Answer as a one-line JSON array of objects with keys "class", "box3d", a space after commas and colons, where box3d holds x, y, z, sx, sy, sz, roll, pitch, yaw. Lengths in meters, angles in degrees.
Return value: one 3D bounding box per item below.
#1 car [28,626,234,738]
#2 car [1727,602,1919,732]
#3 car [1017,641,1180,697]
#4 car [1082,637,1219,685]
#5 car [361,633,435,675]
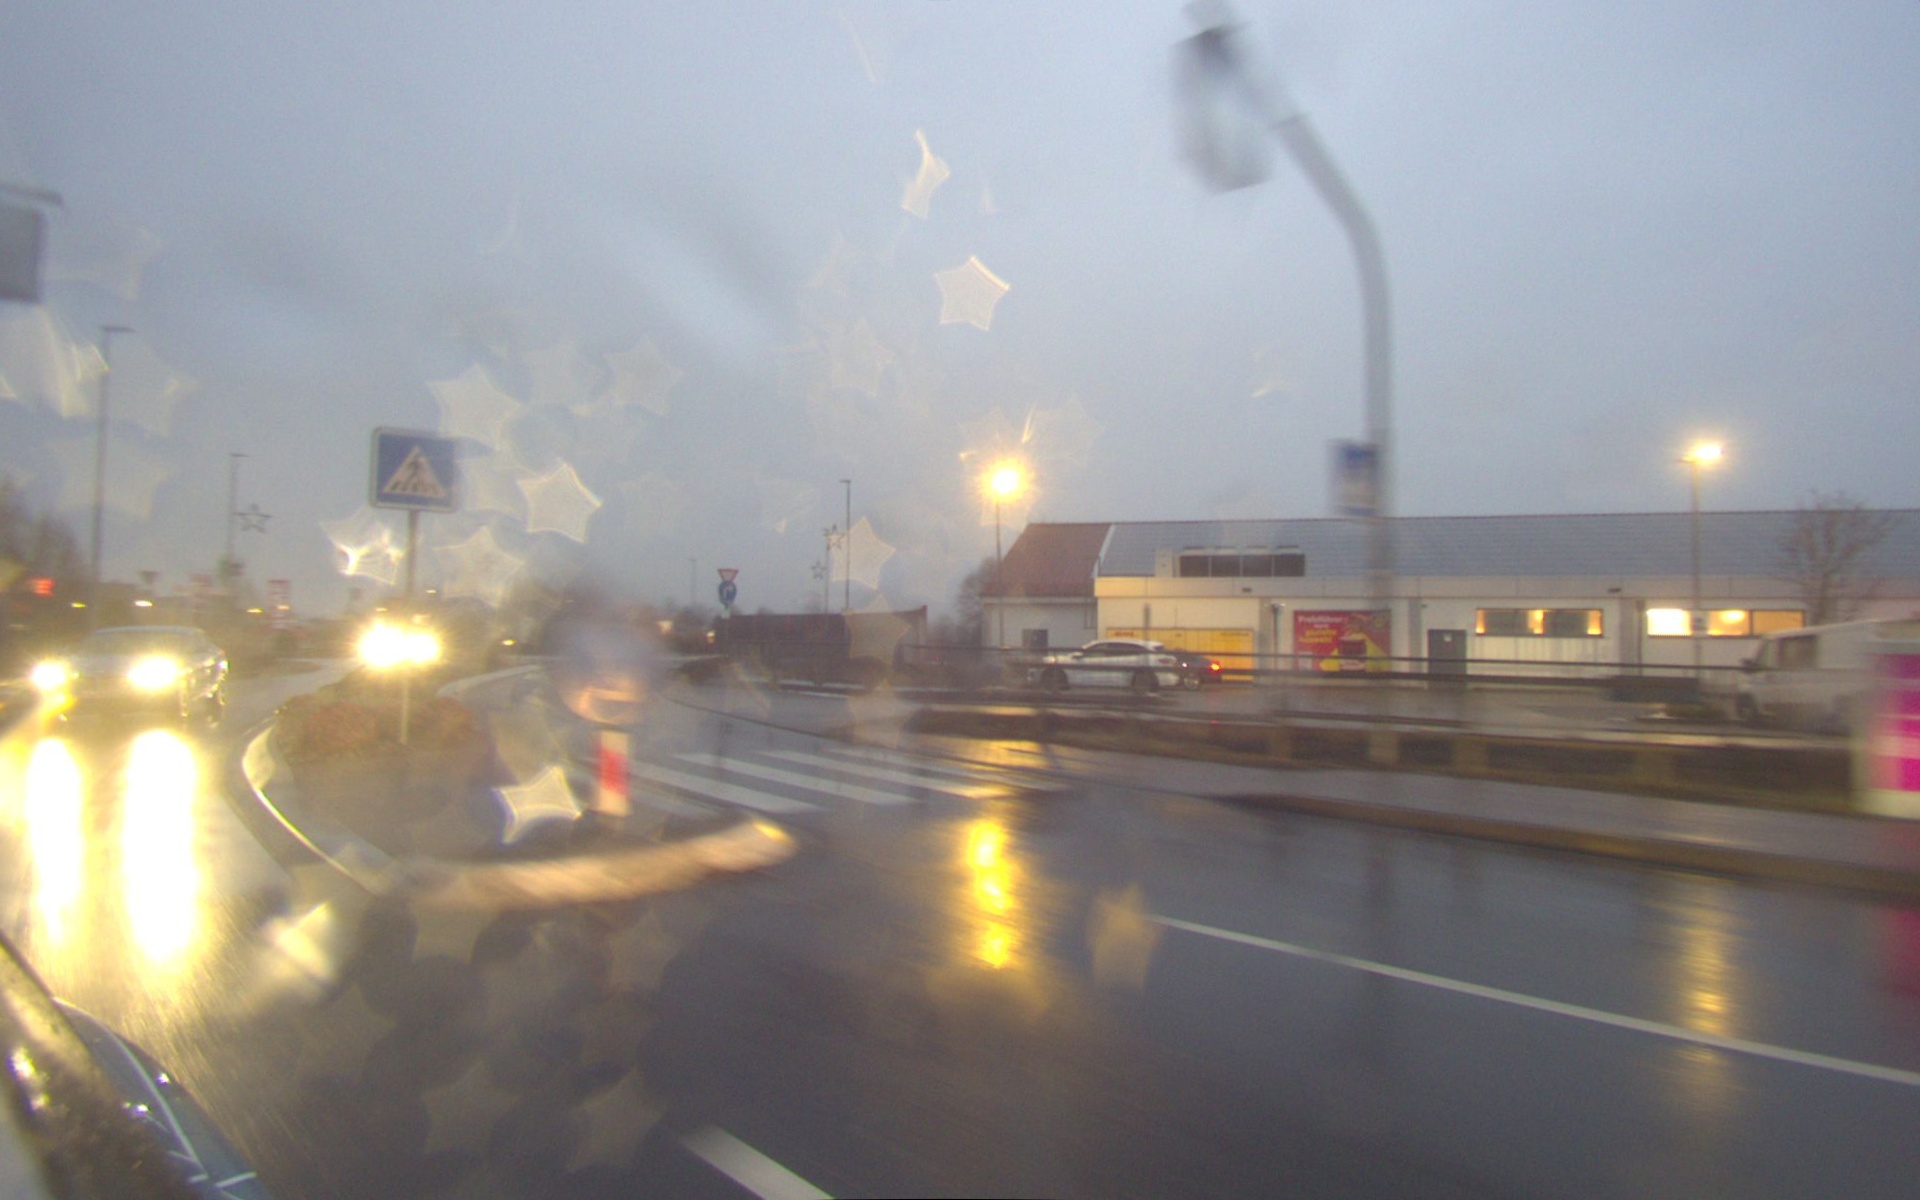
[{"class": "car", "box3d": [-14.012, 1.303, 17.399, 1.746, 1.654, 4.435, 1, -2, -26]}, {"class": "car", "box3d": [18.184, 1.338, 20.396, 2.196, 2.300, 5.182, -1, -4, 12]}, {"class": "car", "box3d": [4.225, 2.066, 30.756, 4.743, 1.548, 1.680, 0, -2, 16]}, {"class": "car", "box3d": [6.703, 2.099, 35.550, 4.612, 1.548, 1.880, 0, -2, 16]}, {"class": "car", "box3d": [-20.955, 1.965, 37.668, 1.967, 1.484, 4.010, 1, -2, -35]}]
